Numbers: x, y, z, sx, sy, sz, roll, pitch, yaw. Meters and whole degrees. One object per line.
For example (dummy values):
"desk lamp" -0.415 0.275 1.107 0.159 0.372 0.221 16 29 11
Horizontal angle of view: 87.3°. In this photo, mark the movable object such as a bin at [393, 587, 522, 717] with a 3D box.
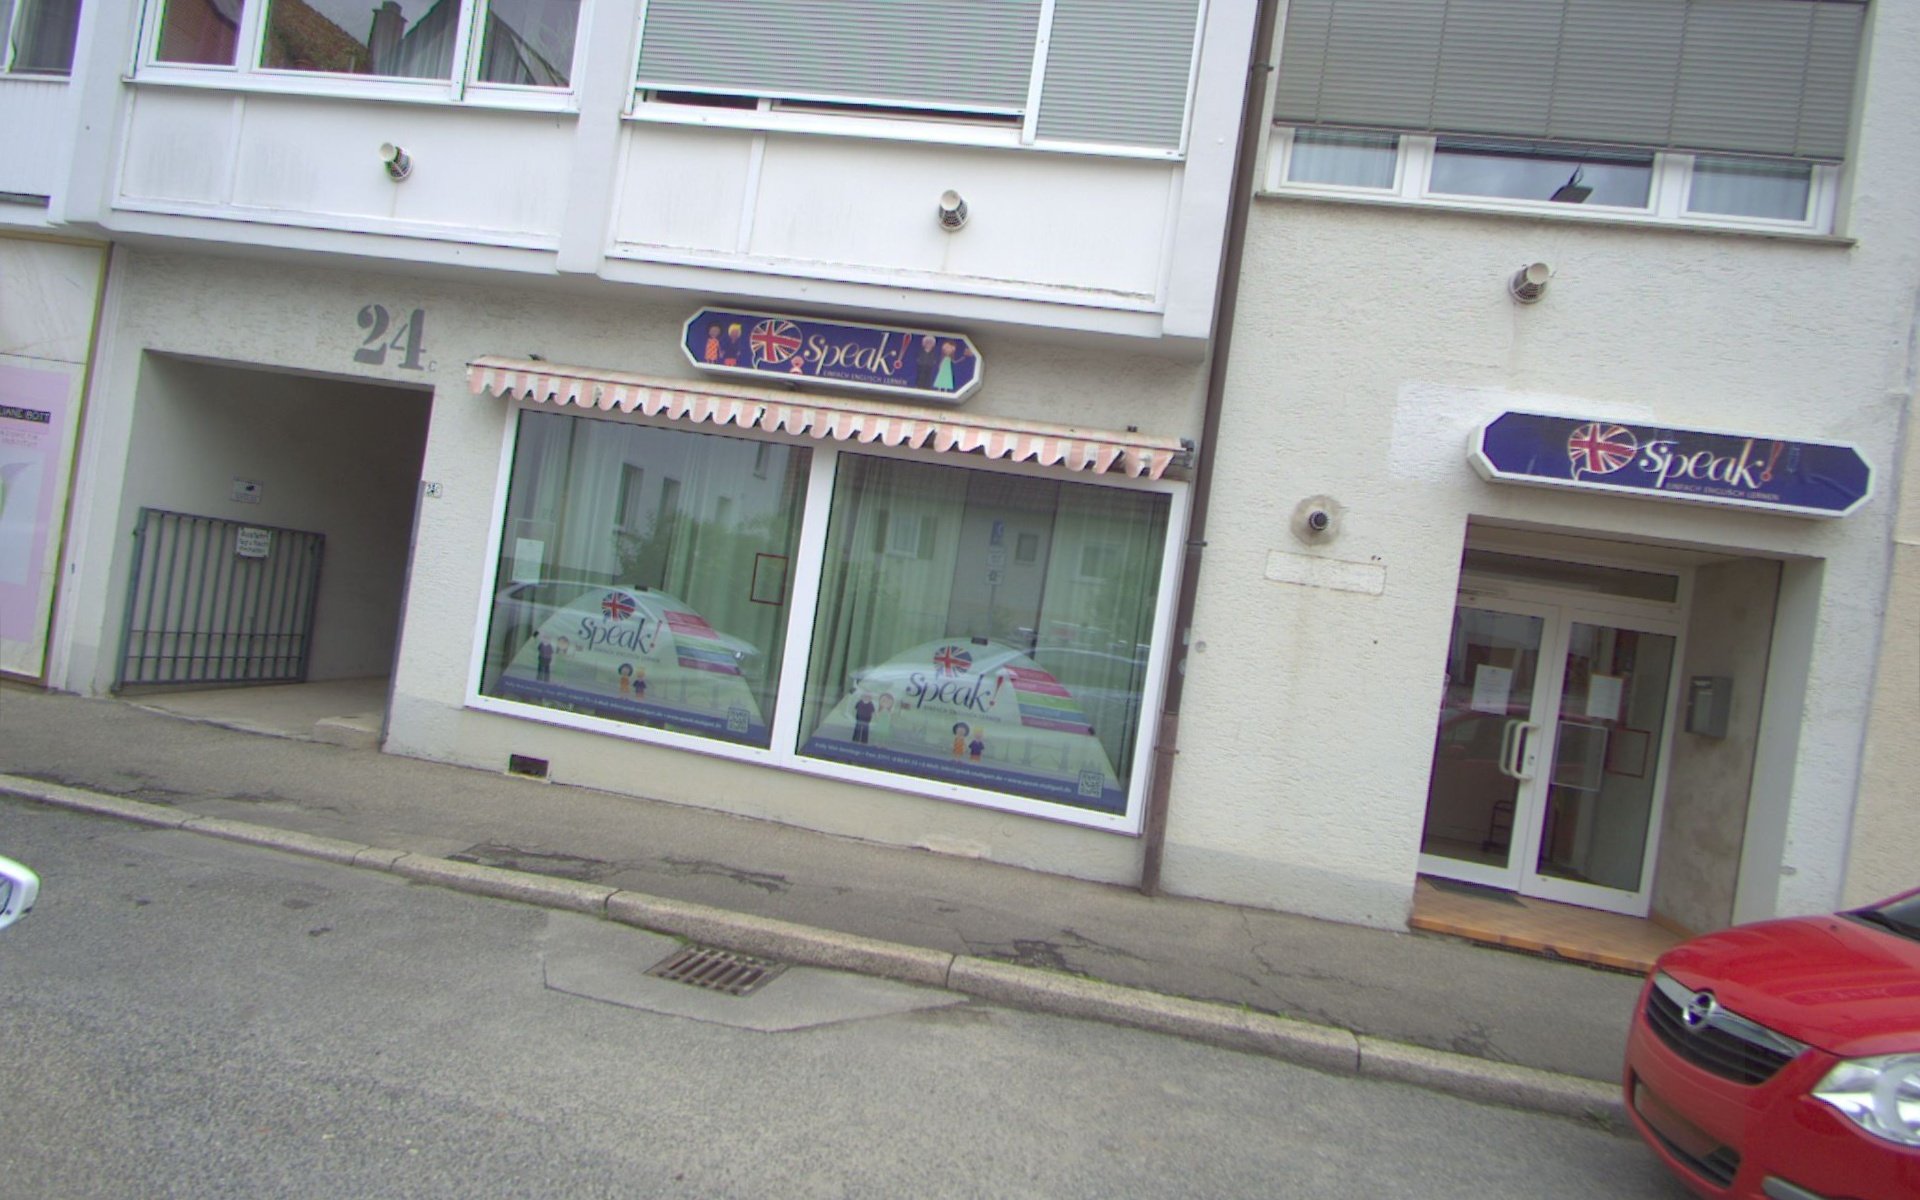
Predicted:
"movable object such as a bin" -4.576 0.462 9.190 0.691 1.055 0.667 8 2 14

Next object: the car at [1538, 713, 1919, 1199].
"car" 4.008 1.387 2.846 3.624 1.573 1.701 7 -3 11
